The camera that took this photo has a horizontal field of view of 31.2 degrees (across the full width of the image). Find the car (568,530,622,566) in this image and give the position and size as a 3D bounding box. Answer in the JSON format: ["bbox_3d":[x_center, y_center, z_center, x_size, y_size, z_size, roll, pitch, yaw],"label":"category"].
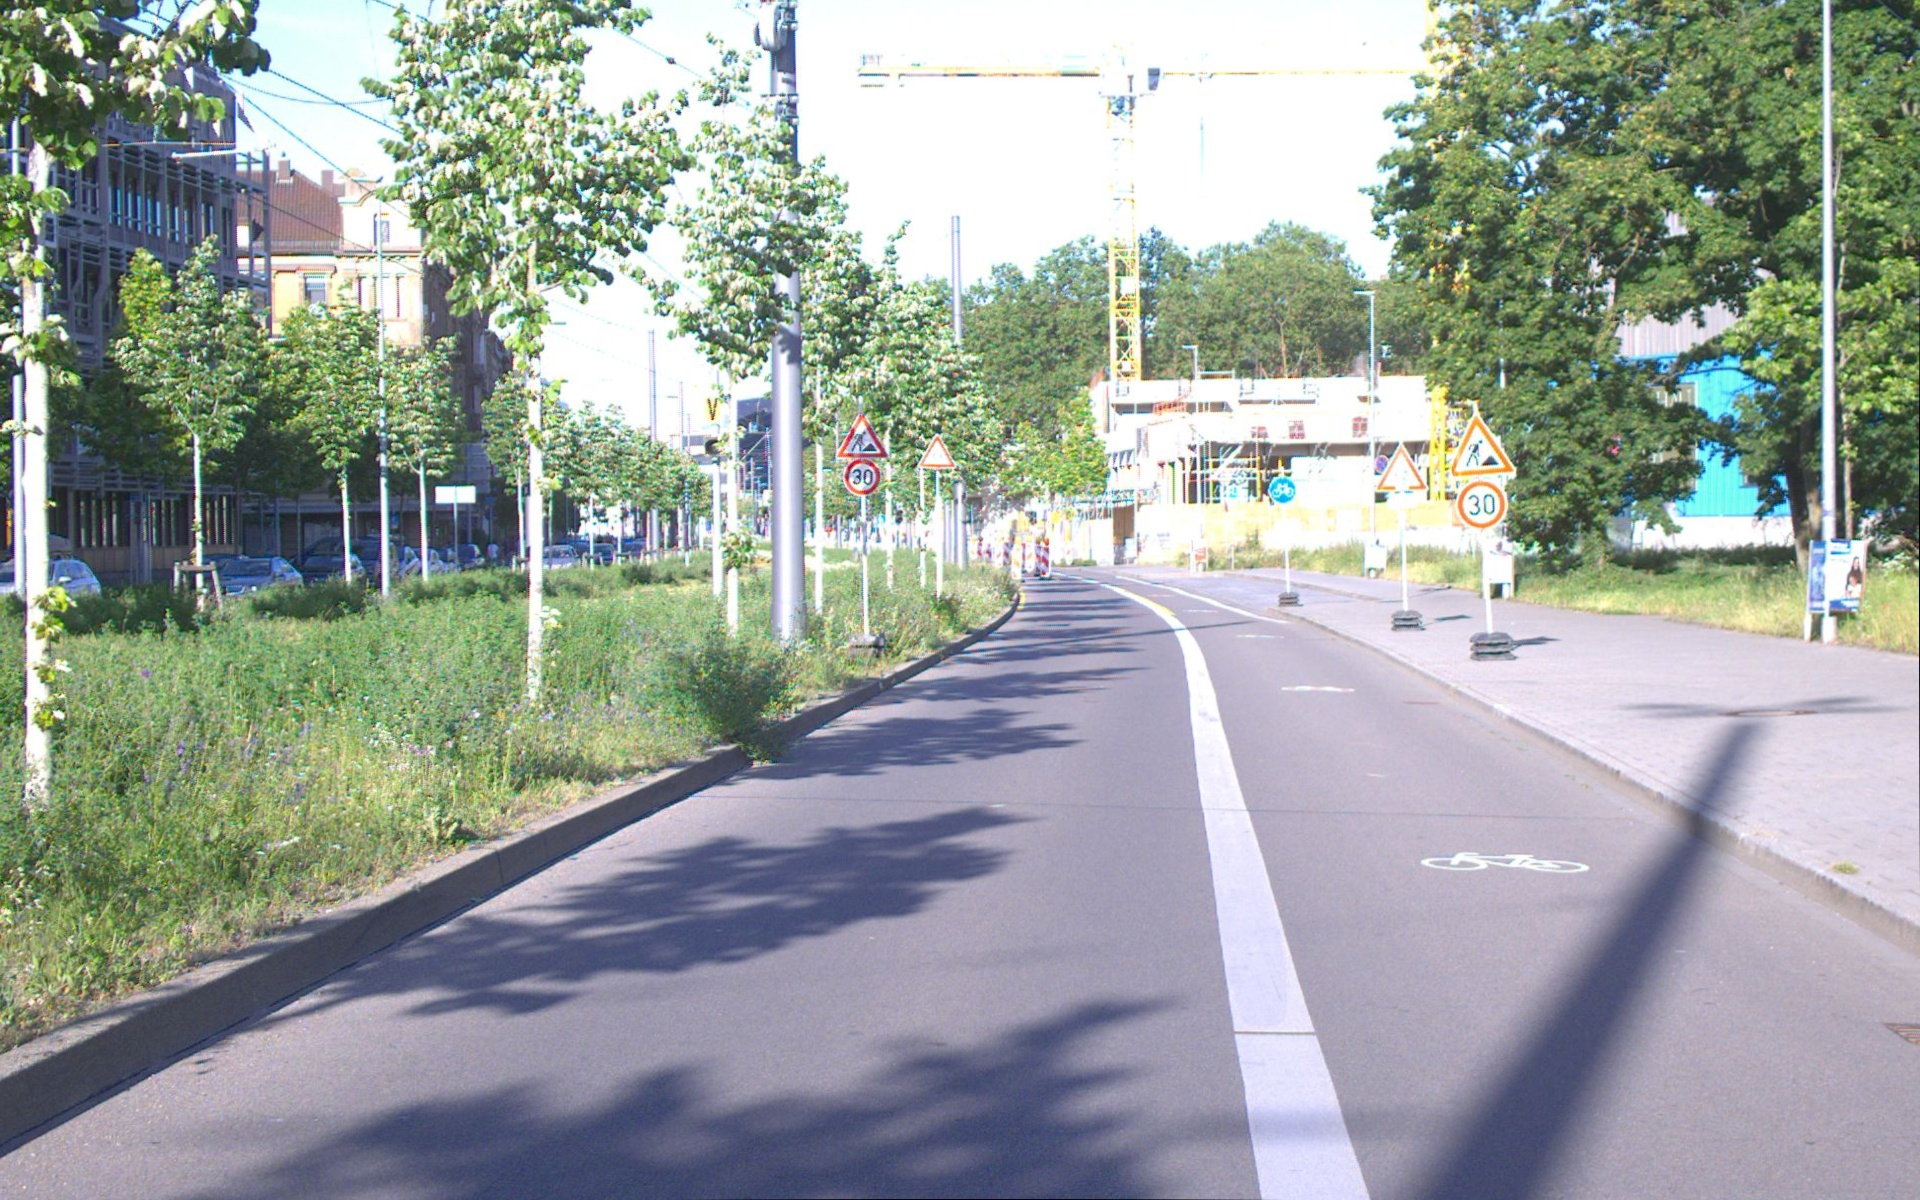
[{"bbox_3d":[-16.716,-2.395,157.619,1.903,1.570,4.410,-1,1,2],"label":"car"}]

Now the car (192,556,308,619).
[{"bbox_3d":[-18.321,-0.339,88.871,1.758,1.510,4.582,-2,1,4],"label":"car"}]

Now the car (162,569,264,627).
[{"bbox_3d":[-21.773,-0.077,100.308,1.903,1.570,4.301,-1,1,2],"label":"car"}]

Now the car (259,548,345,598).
[{"bbox_3d":[-21.924,-0.922,114.646,1.903,1.570,4.301,-1,1,2],"label":"car"}]

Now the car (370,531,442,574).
[{"bbox_3d":[-21.082,-1.818,130.901,1.903,1.570,4.301,-1,1,2],"label":"car"}]

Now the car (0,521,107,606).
[{"bbox_3d":[-18.555,-0.725,67.909,1.840,1.589,4.692,-2,1,4],"label":"car"}]

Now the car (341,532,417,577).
[{"bbox_3d":[-21.106,-1.659,125.098,1.903,1.570,4.301,-1,1,2],"label":"car"}]
